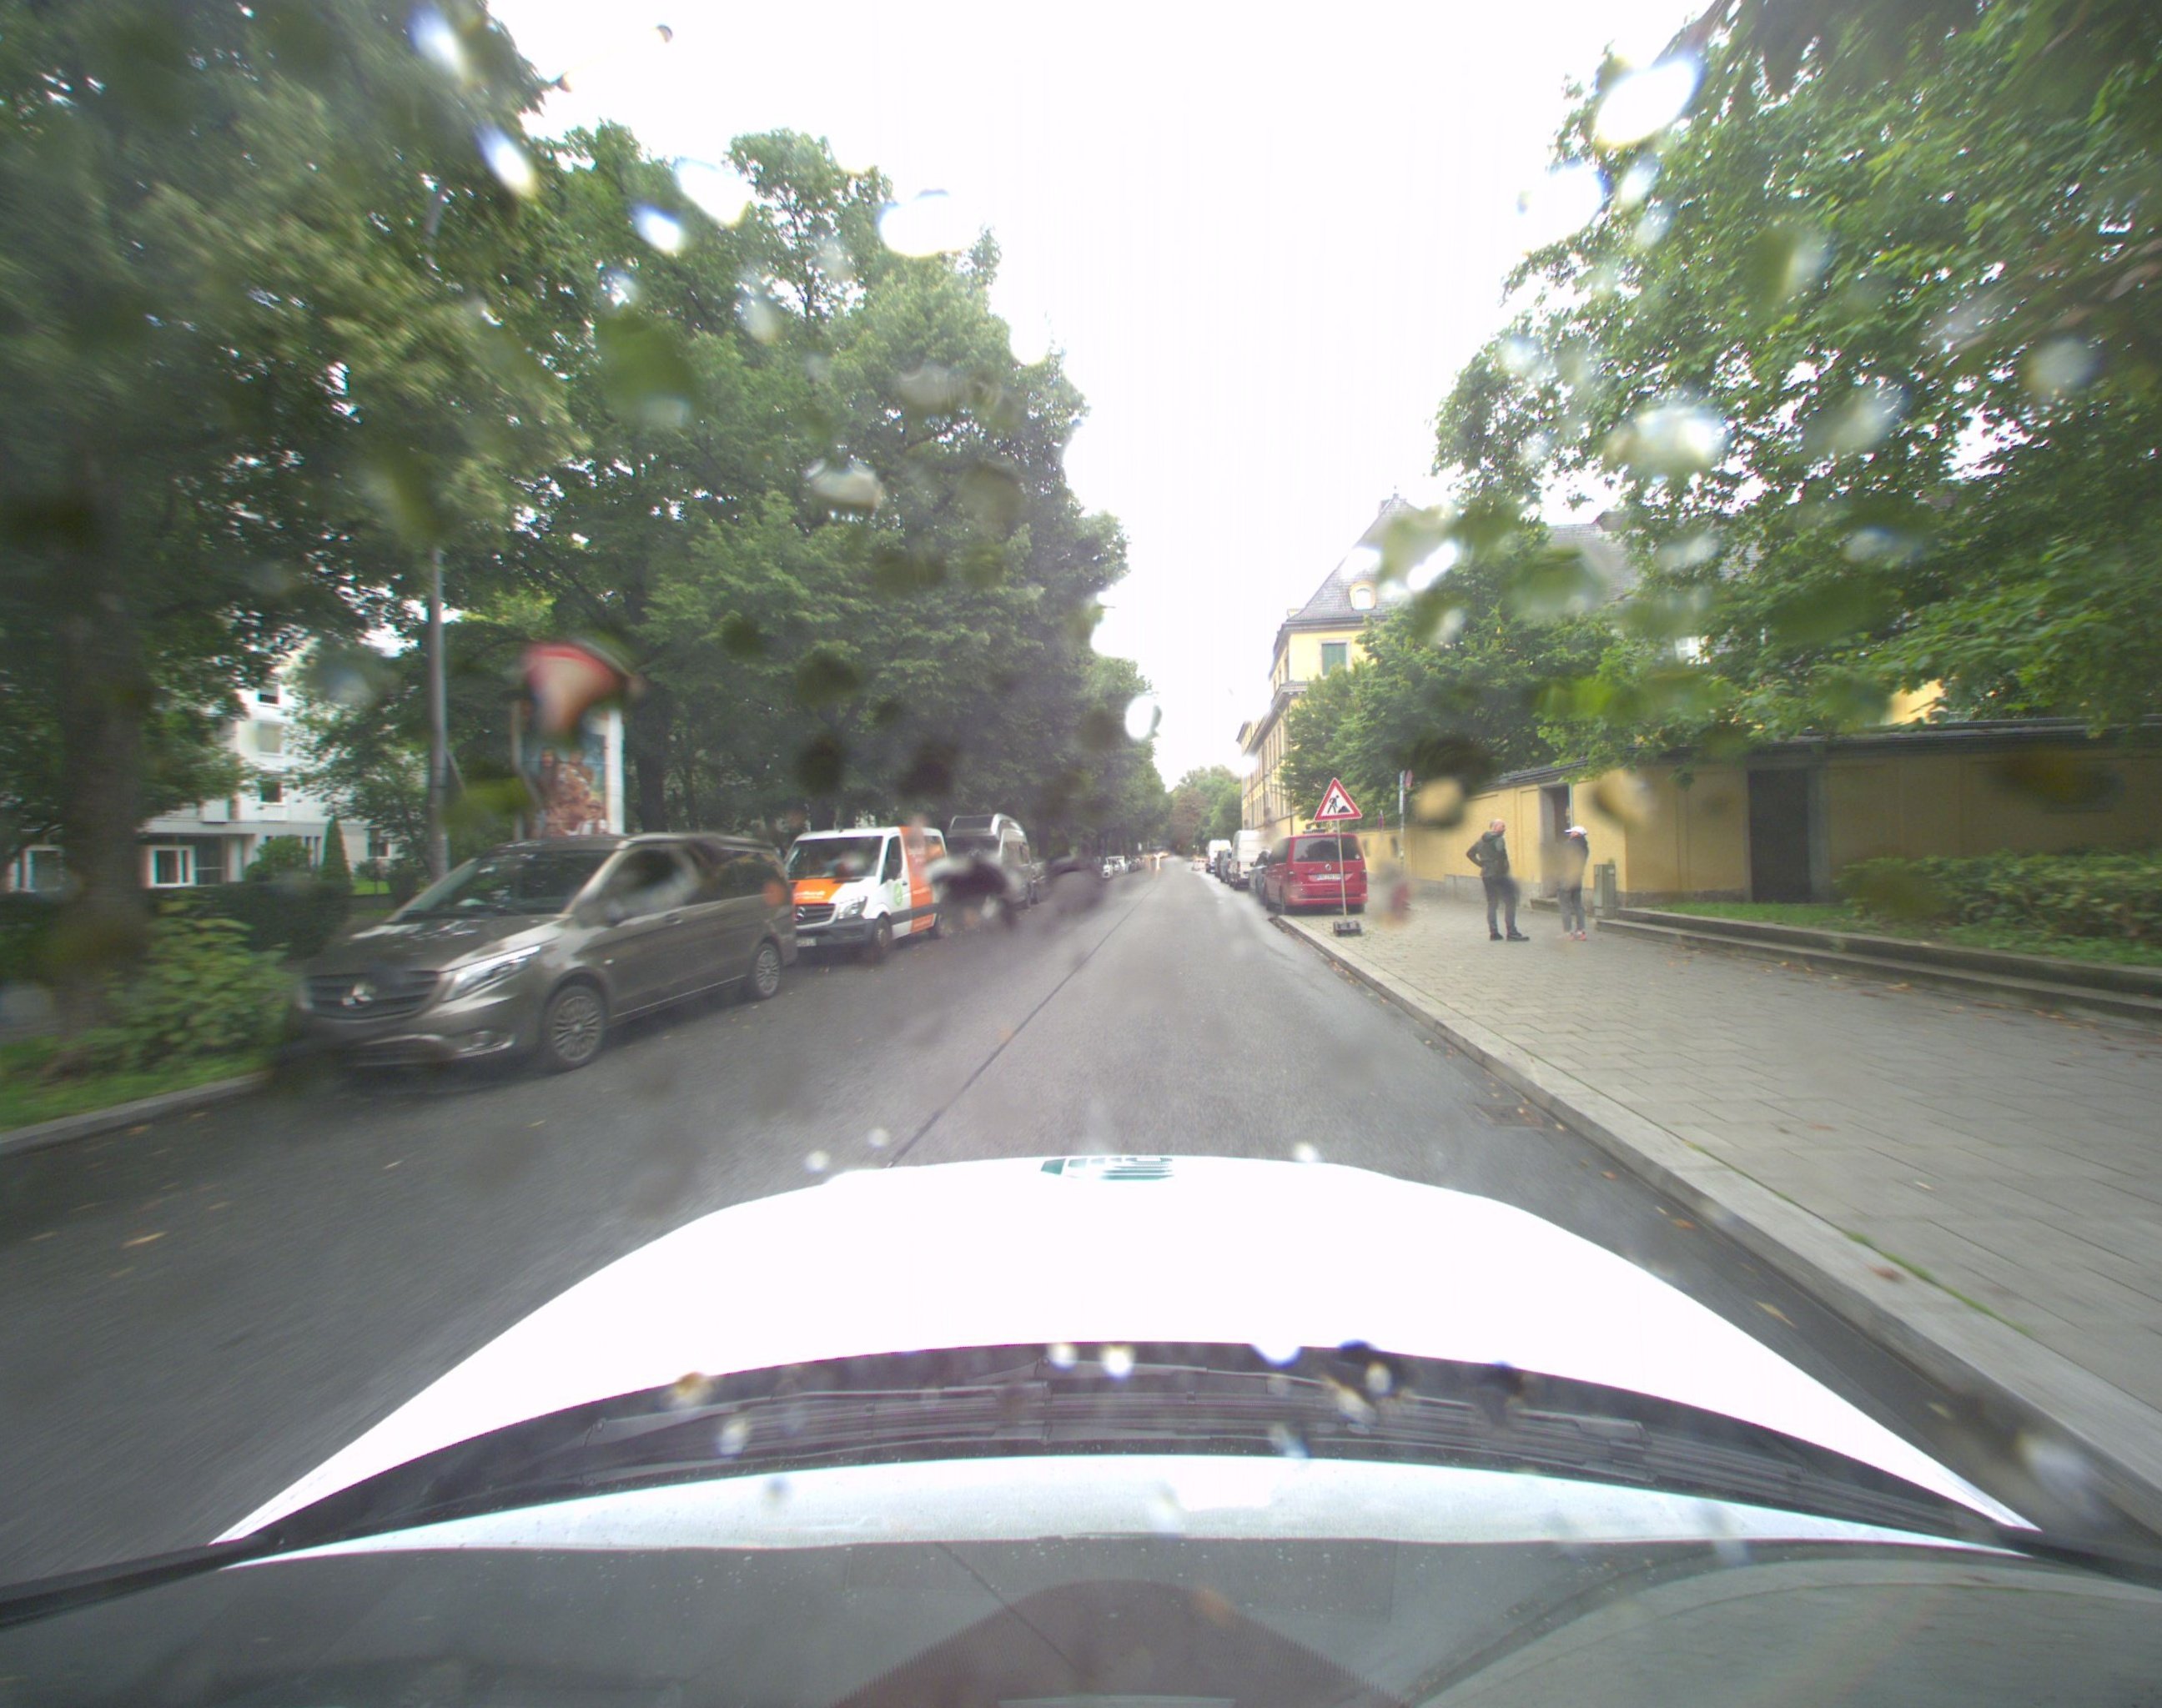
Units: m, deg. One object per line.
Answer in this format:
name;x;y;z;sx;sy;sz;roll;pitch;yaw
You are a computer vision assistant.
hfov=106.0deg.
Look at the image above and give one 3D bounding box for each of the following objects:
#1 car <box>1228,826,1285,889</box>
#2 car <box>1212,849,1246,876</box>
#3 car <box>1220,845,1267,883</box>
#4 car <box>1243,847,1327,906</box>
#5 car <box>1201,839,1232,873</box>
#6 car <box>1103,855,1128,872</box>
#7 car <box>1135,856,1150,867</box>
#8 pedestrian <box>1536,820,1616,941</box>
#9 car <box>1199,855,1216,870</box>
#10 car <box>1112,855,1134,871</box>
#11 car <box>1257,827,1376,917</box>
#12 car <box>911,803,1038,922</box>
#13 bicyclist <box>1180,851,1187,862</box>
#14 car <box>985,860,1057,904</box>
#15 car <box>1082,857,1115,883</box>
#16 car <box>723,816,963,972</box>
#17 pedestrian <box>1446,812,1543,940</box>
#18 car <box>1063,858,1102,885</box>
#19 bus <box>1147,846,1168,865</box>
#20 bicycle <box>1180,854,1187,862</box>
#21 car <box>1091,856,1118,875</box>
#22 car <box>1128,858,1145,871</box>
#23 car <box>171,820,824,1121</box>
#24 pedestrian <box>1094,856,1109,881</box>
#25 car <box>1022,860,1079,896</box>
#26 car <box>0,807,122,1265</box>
car;7.697;0.142;36.205;1.983;2.558;5.441;-2;0;7
car;9.825;0.533;54.220;1.786;1.679;4.006;-2;0;5
car;8.529;0.502;43.092;1.984;1.883;4.006;-2;0;5
car;6.361;0.653;25.868;1.983;1.634;4.573;-2;0;7
car;11.198;0.167;67.486;1.832;2.622;4.386;-2;0;2
car;3.016;0.836;71.136;1.984;1.420;4.005;-2;0;4
car;8.222;0.983;108.958;1.984;1.420;4.005;-2;0;4
pedestrian;7.091;0.363;11.692;0.634;1.667;0.693;-2;0;-15
car;15.341;1.041;98.738;1.793;1.736;4.012;-2;0;11
car;4.027;0.857;77.353;1.984;1.420;4.005;-2;0;4
car;5.753;0.403;20.529;1.902;1.937;4.976;-2;0;5
car;-2.909;0.218;24.050;2.161;3.002;6.244;-2;0;6
bicyclist;15.631;0.353;124.555;1.015;1.545;1.260;-2;0;7
car;-2.115;0.979;29.817;1.984;1.420;4.005;-2;0;4
car;1.216;1.066;55.251;1.984;1.620;4.134;-2;0;4
car;-4.052;0.620;15.202;2.072;2.265;5.614;-4;0;8
pedestrian;6.224;0.316;12.296;0.822;1.836;0.946;-2;0;-20
car;0.136;1.043;48.835;1.984;1.487;4.134;-2;0;4
bus;12.435;0.240;132.790;2.926;2.919;8.243;-1;0;2
bicycle;15.596;0.655;124.363;1.015;1.157;2.491;-2;0;8
car;1.909;0.884;65.177;1.984;1.420;4.005;-2;0;4
car;6.825;1.252;99.732;1.984;1.420;4.005;-2;0;4
car;-4.794;0.787;8.218;2.016;1.908;5.676;-3;0;6
pedestrian;1.282;0.917;51.579;0.881;1.598;0.823;-2;-1;-1
car;-1.241;0.996;35.251;1.984;1.420;4.134;-2;0;4
car;-5.834;0.789;1.491;2.072;1.903;4.870;-2;0;8
